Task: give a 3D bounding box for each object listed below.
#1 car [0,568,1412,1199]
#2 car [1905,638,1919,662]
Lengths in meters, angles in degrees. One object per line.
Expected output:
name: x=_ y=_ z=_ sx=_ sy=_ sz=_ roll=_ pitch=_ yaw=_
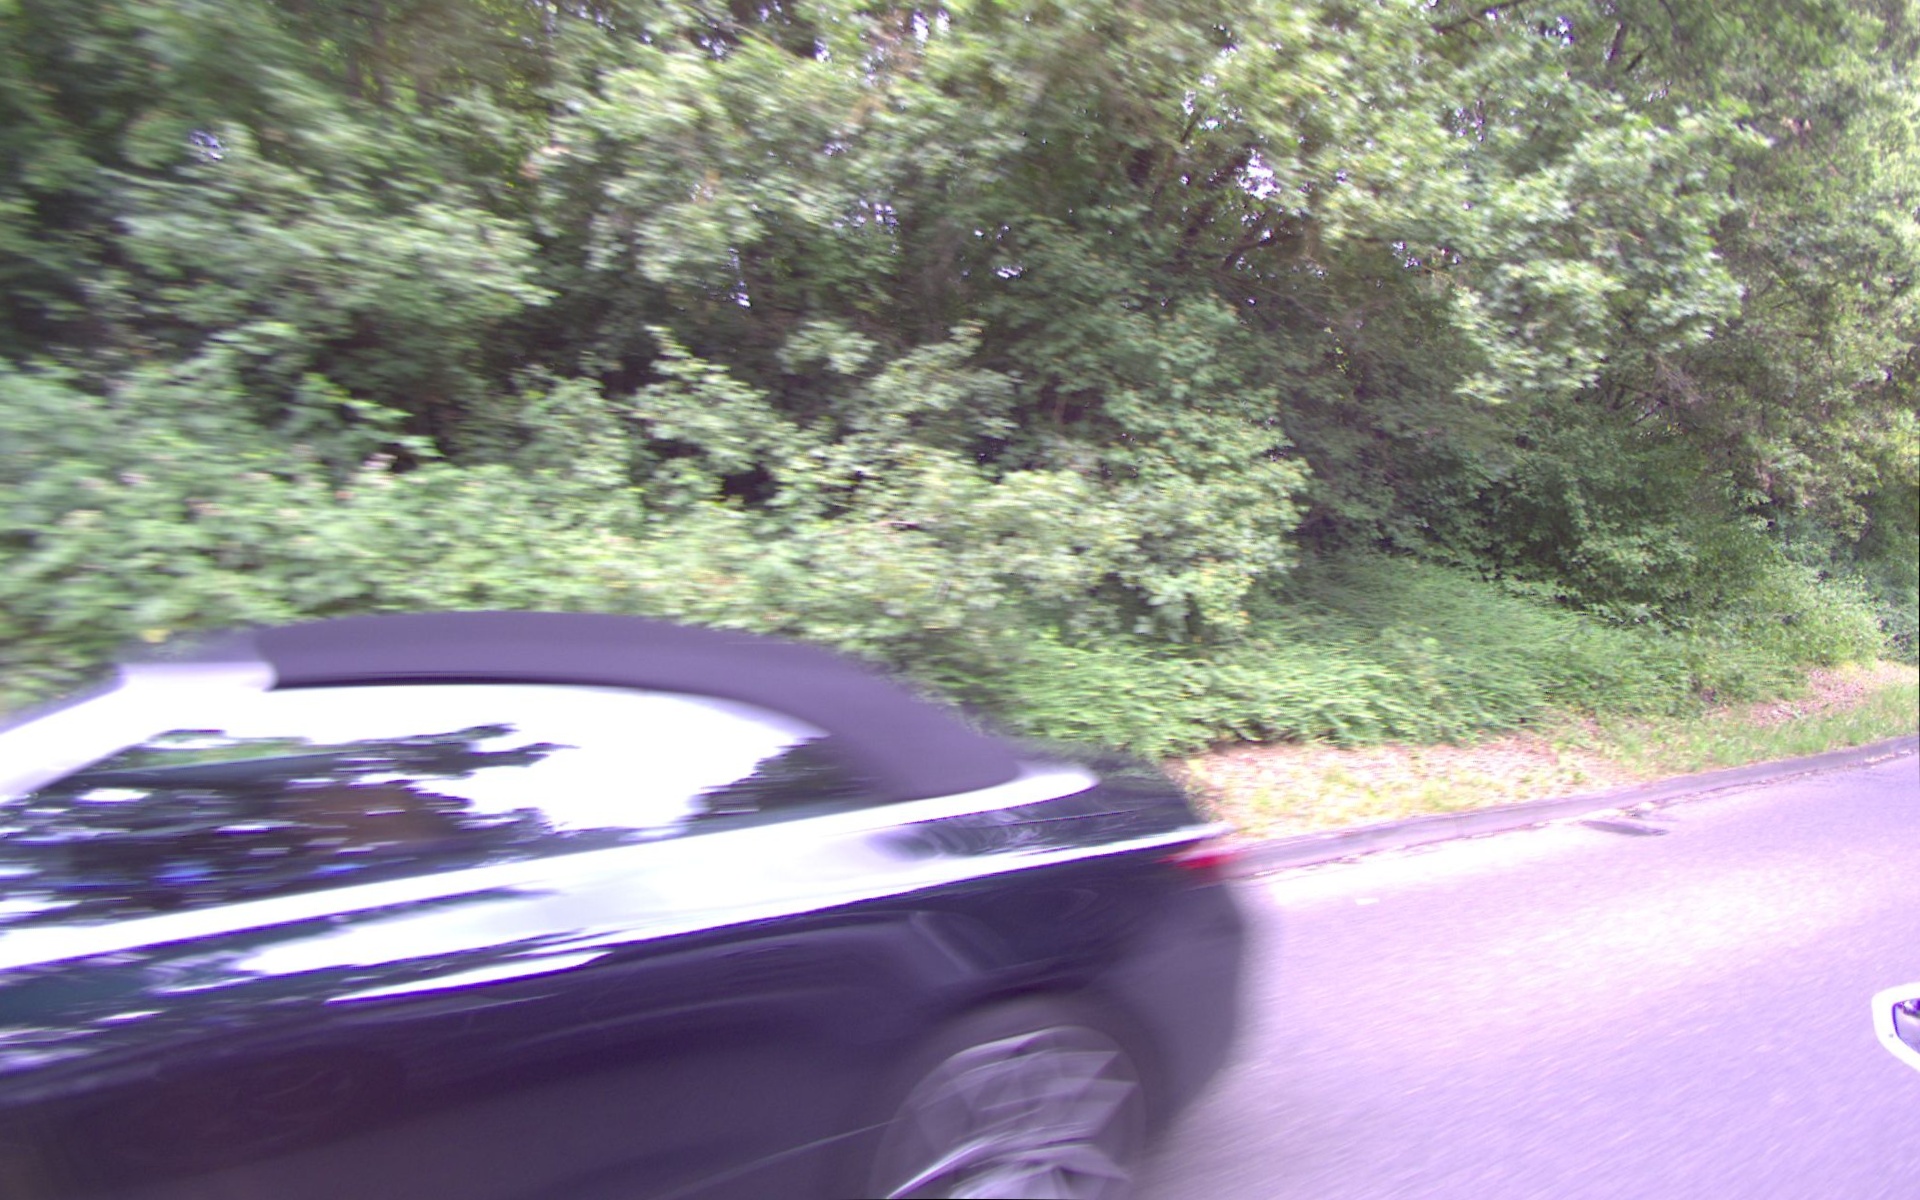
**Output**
car: x=-1.156 y=0.697 z=2.327 sx=4.441 sy=1.407 sz=1.781 roll=3 pitch=1 yaw=-31
car: x=64.146 y=3.378 z=65.777 sx=1.962 sy=1.521 sz=3.998 roll=3 pitch=1 yaw=23
